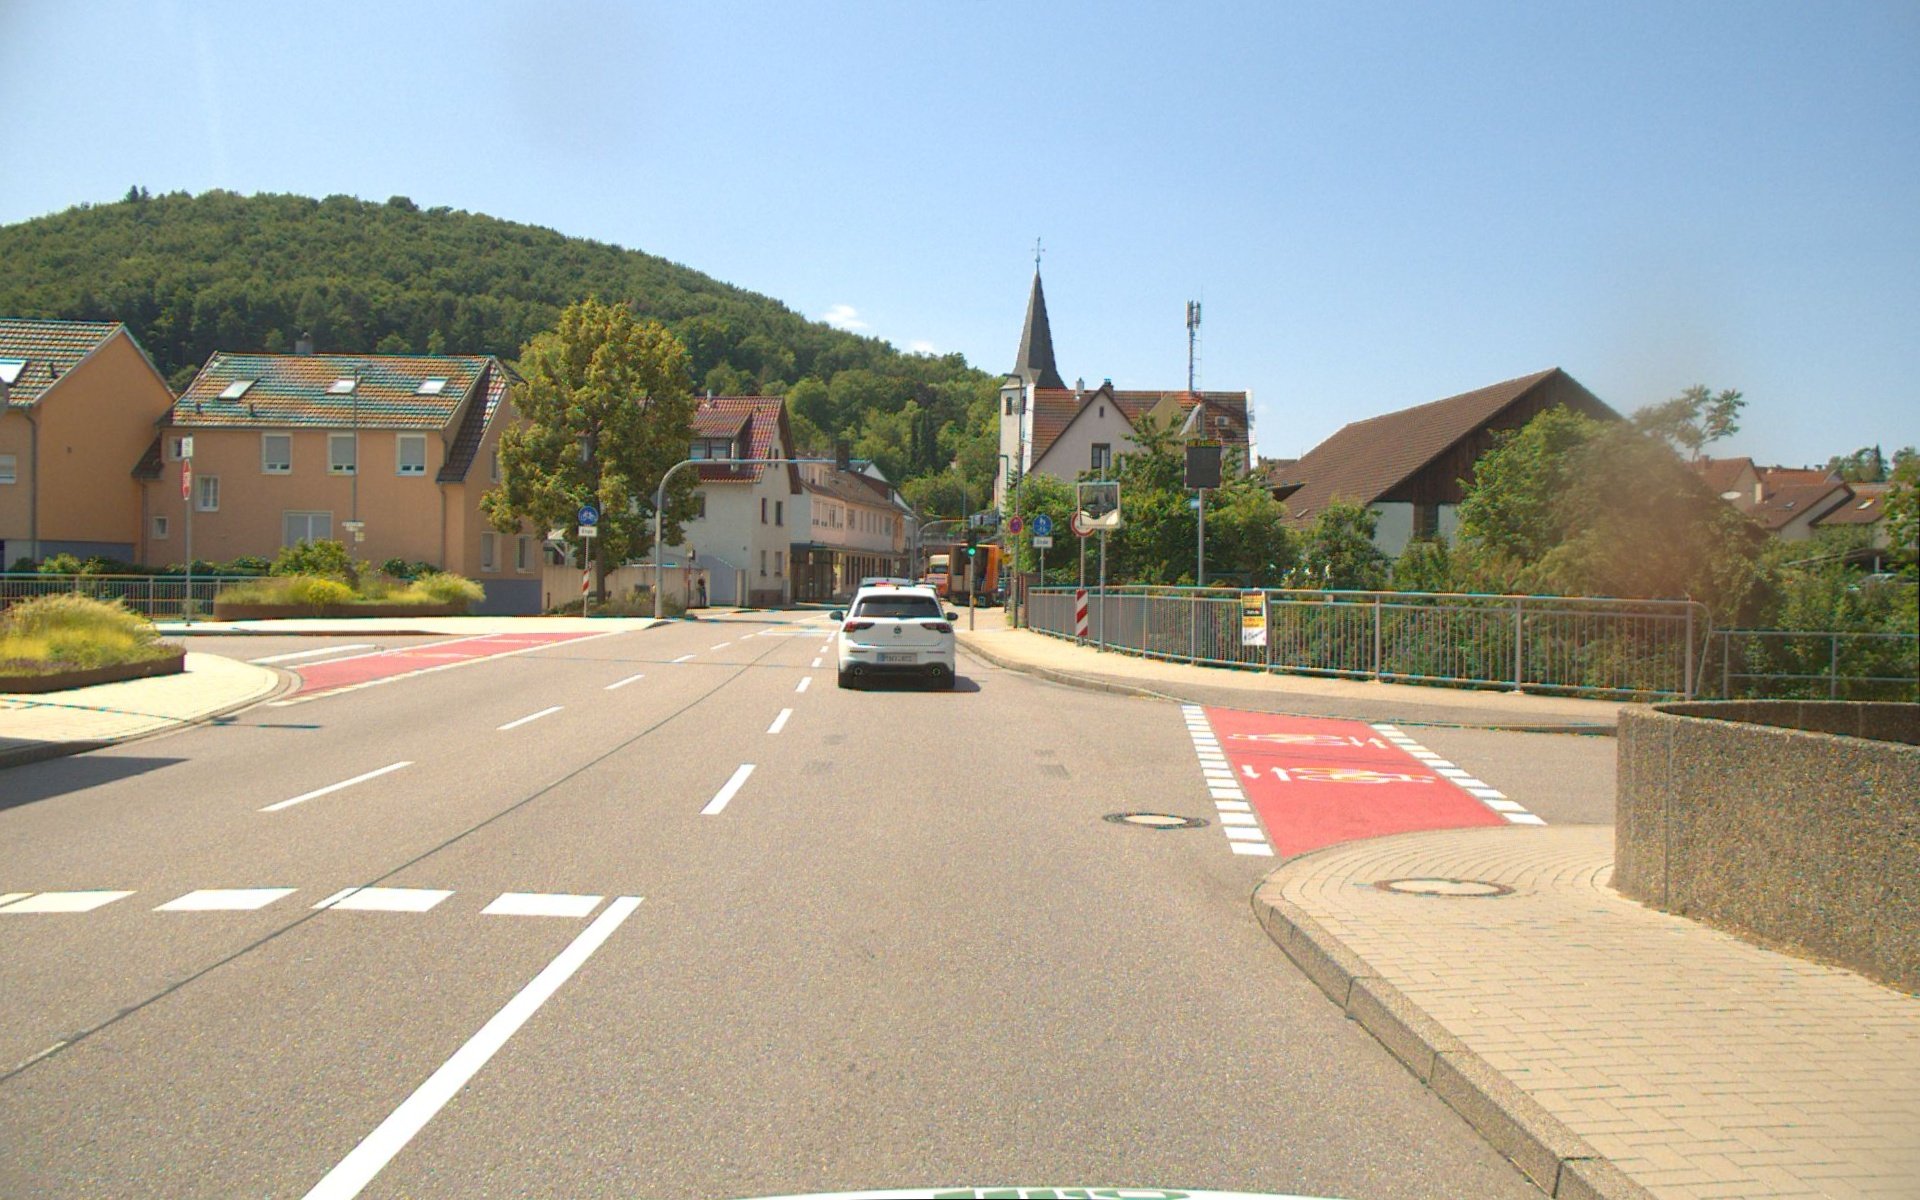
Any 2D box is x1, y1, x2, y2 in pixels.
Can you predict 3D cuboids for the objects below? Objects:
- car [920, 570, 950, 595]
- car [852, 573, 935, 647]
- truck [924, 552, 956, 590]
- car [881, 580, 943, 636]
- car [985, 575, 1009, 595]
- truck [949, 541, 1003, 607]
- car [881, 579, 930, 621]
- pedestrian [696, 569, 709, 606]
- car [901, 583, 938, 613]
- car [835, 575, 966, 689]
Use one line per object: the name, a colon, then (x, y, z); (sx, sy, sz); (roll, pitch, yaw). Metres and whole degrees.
car: (-1.760, -1.259, 117.755); (1.952, 1.735, 4.312); (0, 0, 1)
car: (-1.531, 0.228, 39.324); (1.778, 1.657, 4.000); (0, 0, 1)
truck: (-1.736, -2.520, 147.785); (2.449, 3.292, 6.042); (0, 0, 3)
car: (-1.455, 0.239, 51.286); (1.778, 1.657, 4.000); (0, 0, 1)
car: (2.815, -1.155, 127.318); (1.778, 1.545, 4.000); (0, 0, 1)
truck: (1.154, -1.697, 112.147); (3.296, 4.243, 9.522); (0, 0, 3)
car: (-2.165, -0.003, 66.774); (1.778, 1.657, 4.000); (0, 0, 1)
pedestrian: (-12.801, -0.628, 82.237); (0.425, 1.795, 0.557); (1, 0, 19)
car: (-2.098, -0.097, 86.391); (1.778, 1.545, 4.000); (0, 0, 1)
car: (-0.830, 0.450, 25.328); (1.778, 1.545, 4.000); (2, 0, 1)
